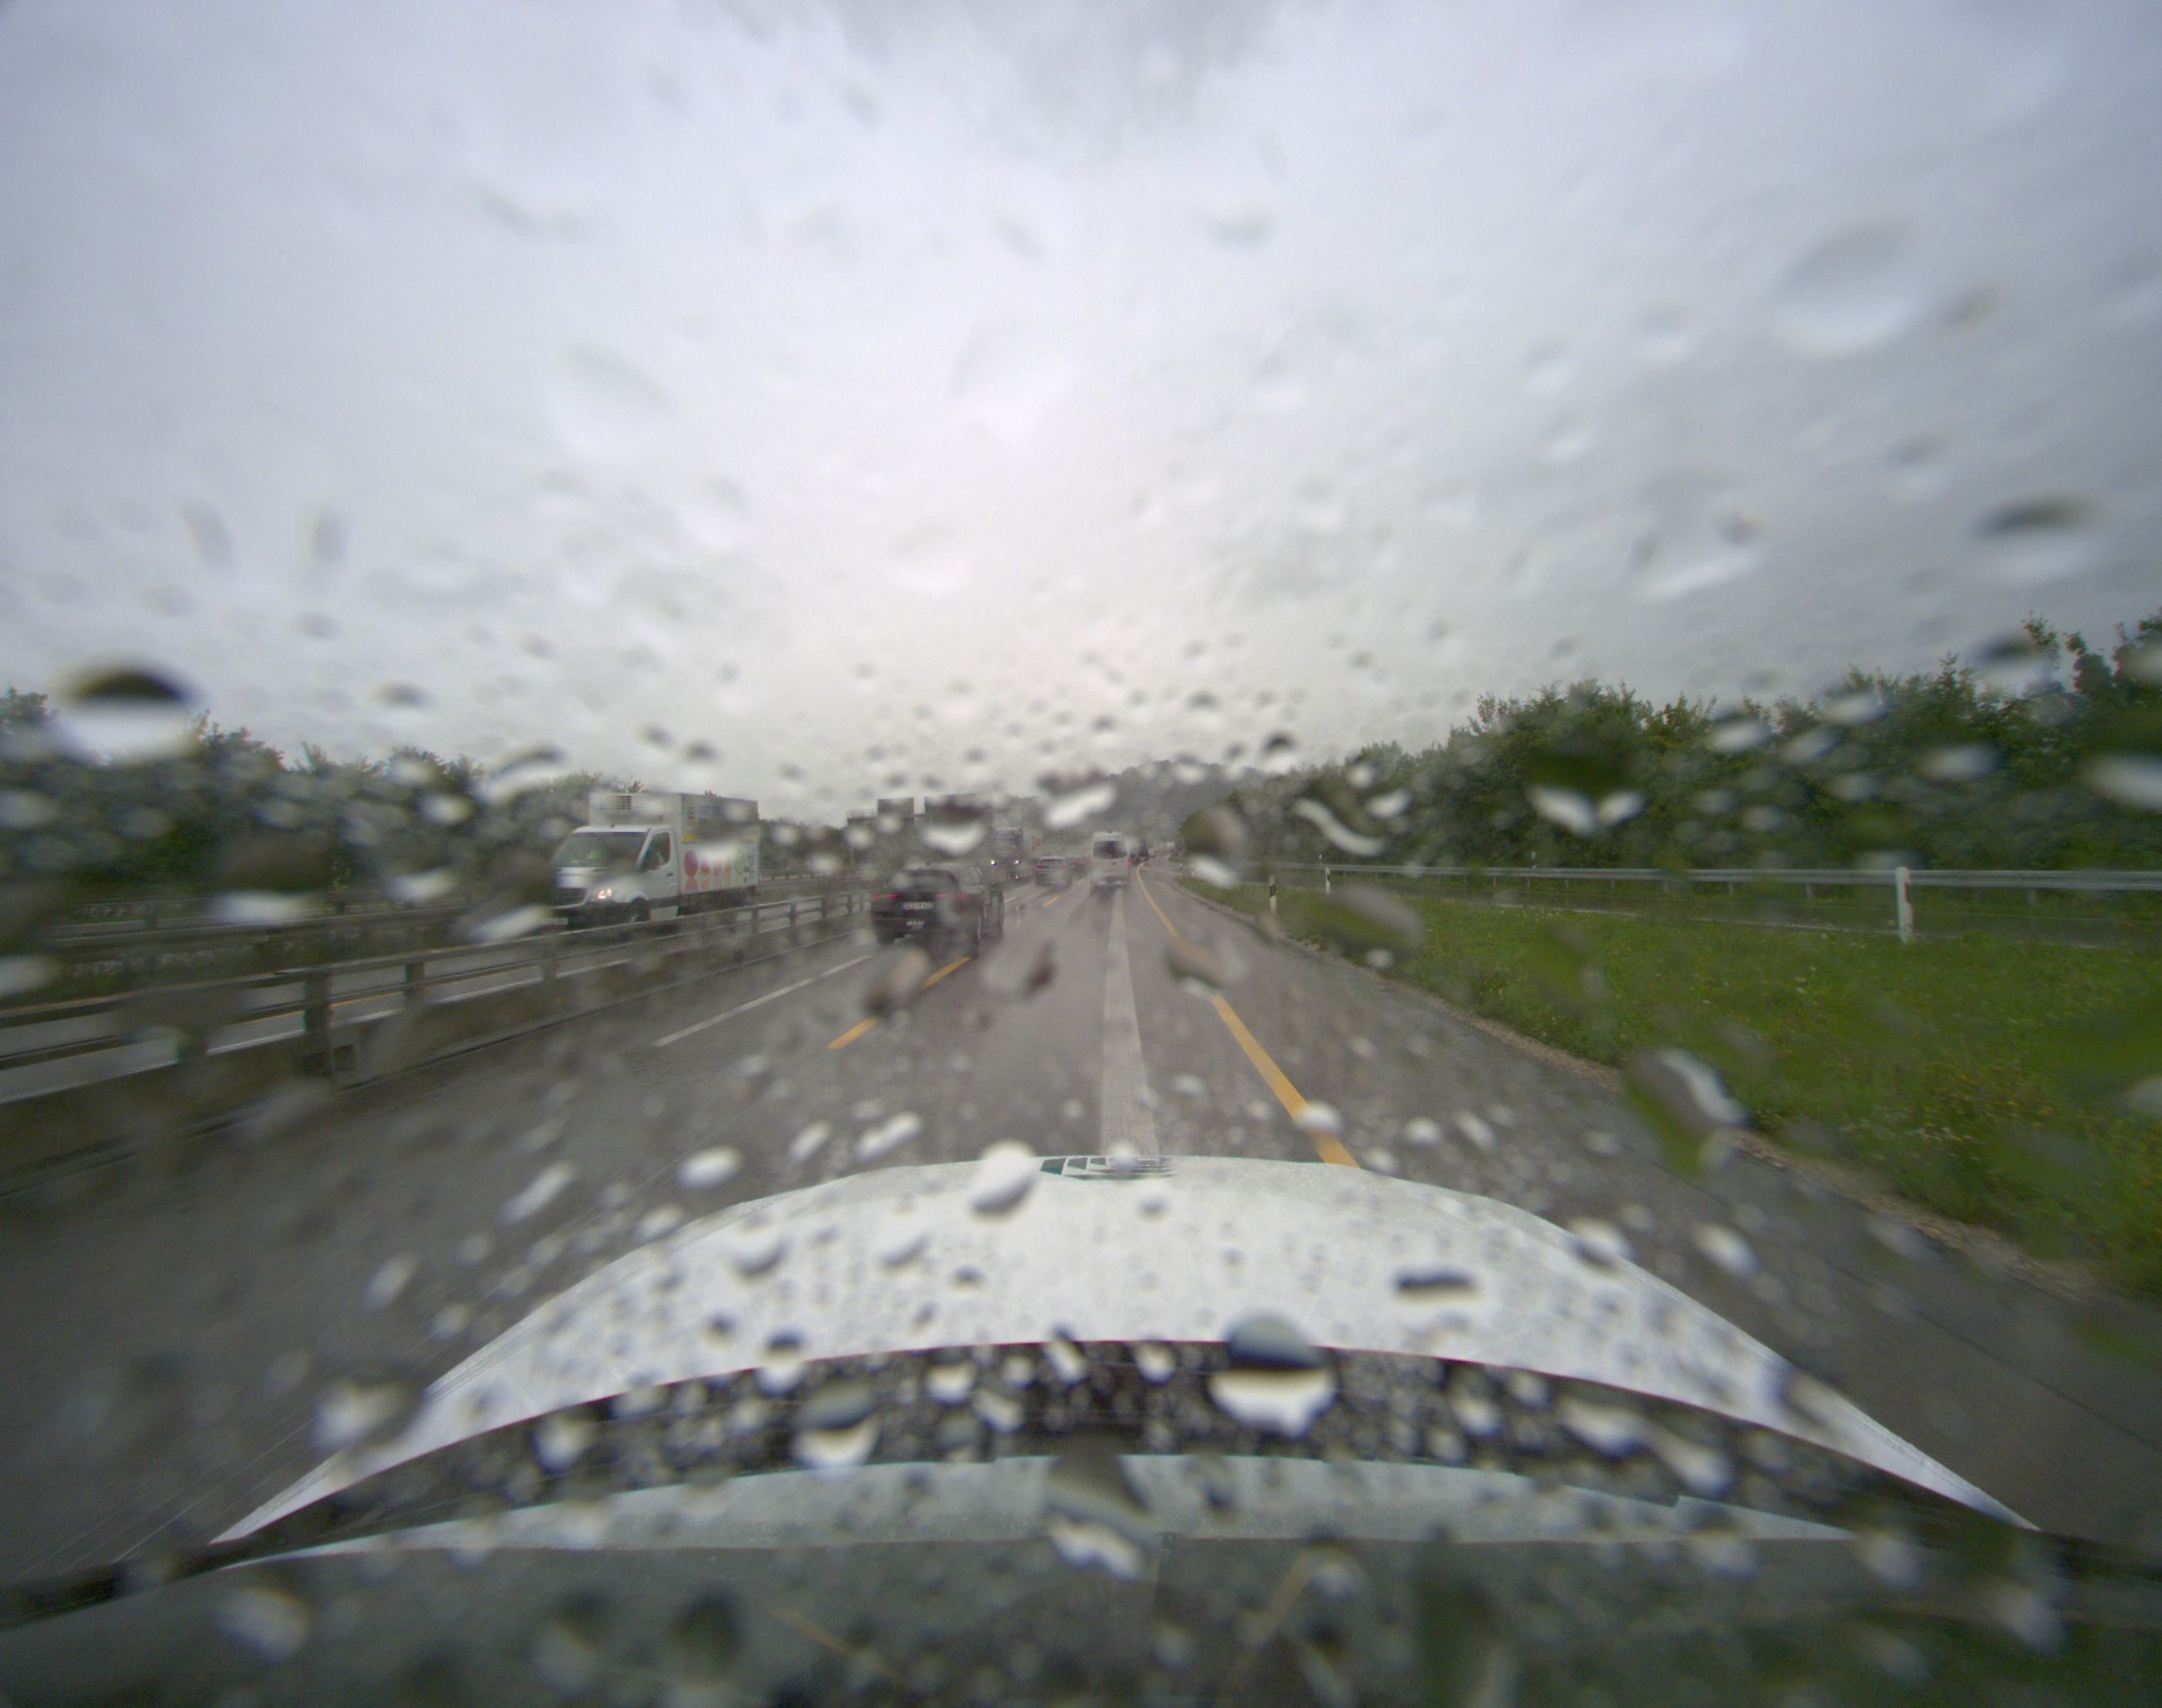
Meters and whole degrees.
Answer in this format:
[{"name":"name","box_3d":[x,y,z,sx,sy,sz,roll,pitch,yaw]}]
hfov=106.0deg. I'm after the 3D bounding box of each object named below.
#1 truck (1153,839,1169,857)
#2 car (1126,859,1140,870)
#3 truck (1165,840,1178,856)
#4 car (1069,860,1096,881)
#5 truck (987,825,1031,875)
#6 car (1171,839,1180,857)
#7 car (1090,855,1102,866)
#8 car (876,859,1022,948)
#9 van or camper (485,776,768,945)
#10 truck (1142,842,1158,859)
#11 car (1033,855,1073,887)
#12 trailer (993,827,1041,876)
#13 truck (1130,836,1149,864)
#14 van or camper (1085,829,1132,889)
[{"name":"truck","box_3d":[21.863,-1.522,222.702,3.907,4.785,9.927,0,-1,8]},{"name":"car","box_3d":[6.173,1.242,96.987,1.380,1.256,3.121,-1,0,-1]},{"name":"truck","box_3d":[29.165,-1.887,261.074,3.907,4.785,9.927,0,-1,8]},{"name":"car","box_3d":[0.141,1.263,62.894,1.844,1.500,4.004,-1,0,4]},{"name":"truck","box_3d":[-6.366,-0.285,72.543,2.876,4.232,6.331,-2,-1,3]},{"name":"car","box_3d":[23.059,-1.368,198.614,2.048,4.192,6.756,-1,-1,5]},{"name":"car","box_3d":[1.599,0.682,86.068,1.258,1.078,3.255,-1,0,2]},{"name":"car","box_3d":[-2.297,0.815,15.481,1.932,1.427,4.760,0,0,1]},{"name":"van or camper","box_3d":[-9.490,0.149,18.051,2.285,3.041,6.701,0,-1,2]},{"name":"truck","box_3d":[15.521,-0.719,183.251,3.306,3.762,9.914,0,-1,3]},{"name":"car","box_3d":[-1.489,0.902,44.255,1.860,1.659,3.990,-1,0,2]},{"name":"trailer","box_3d":[-5.997,-0.155,79.025,2.881,4.286,12.903,-2,-1,3]},{"name":"truck","box_3d":[10.257,-0.645,143.629,3.306,4.785,9.914,0,-1,3]},{"name":"van or camper","box_3d":[1.385,0.241,39.875,2.130,2.721,4.651,-1,0,3]}]
